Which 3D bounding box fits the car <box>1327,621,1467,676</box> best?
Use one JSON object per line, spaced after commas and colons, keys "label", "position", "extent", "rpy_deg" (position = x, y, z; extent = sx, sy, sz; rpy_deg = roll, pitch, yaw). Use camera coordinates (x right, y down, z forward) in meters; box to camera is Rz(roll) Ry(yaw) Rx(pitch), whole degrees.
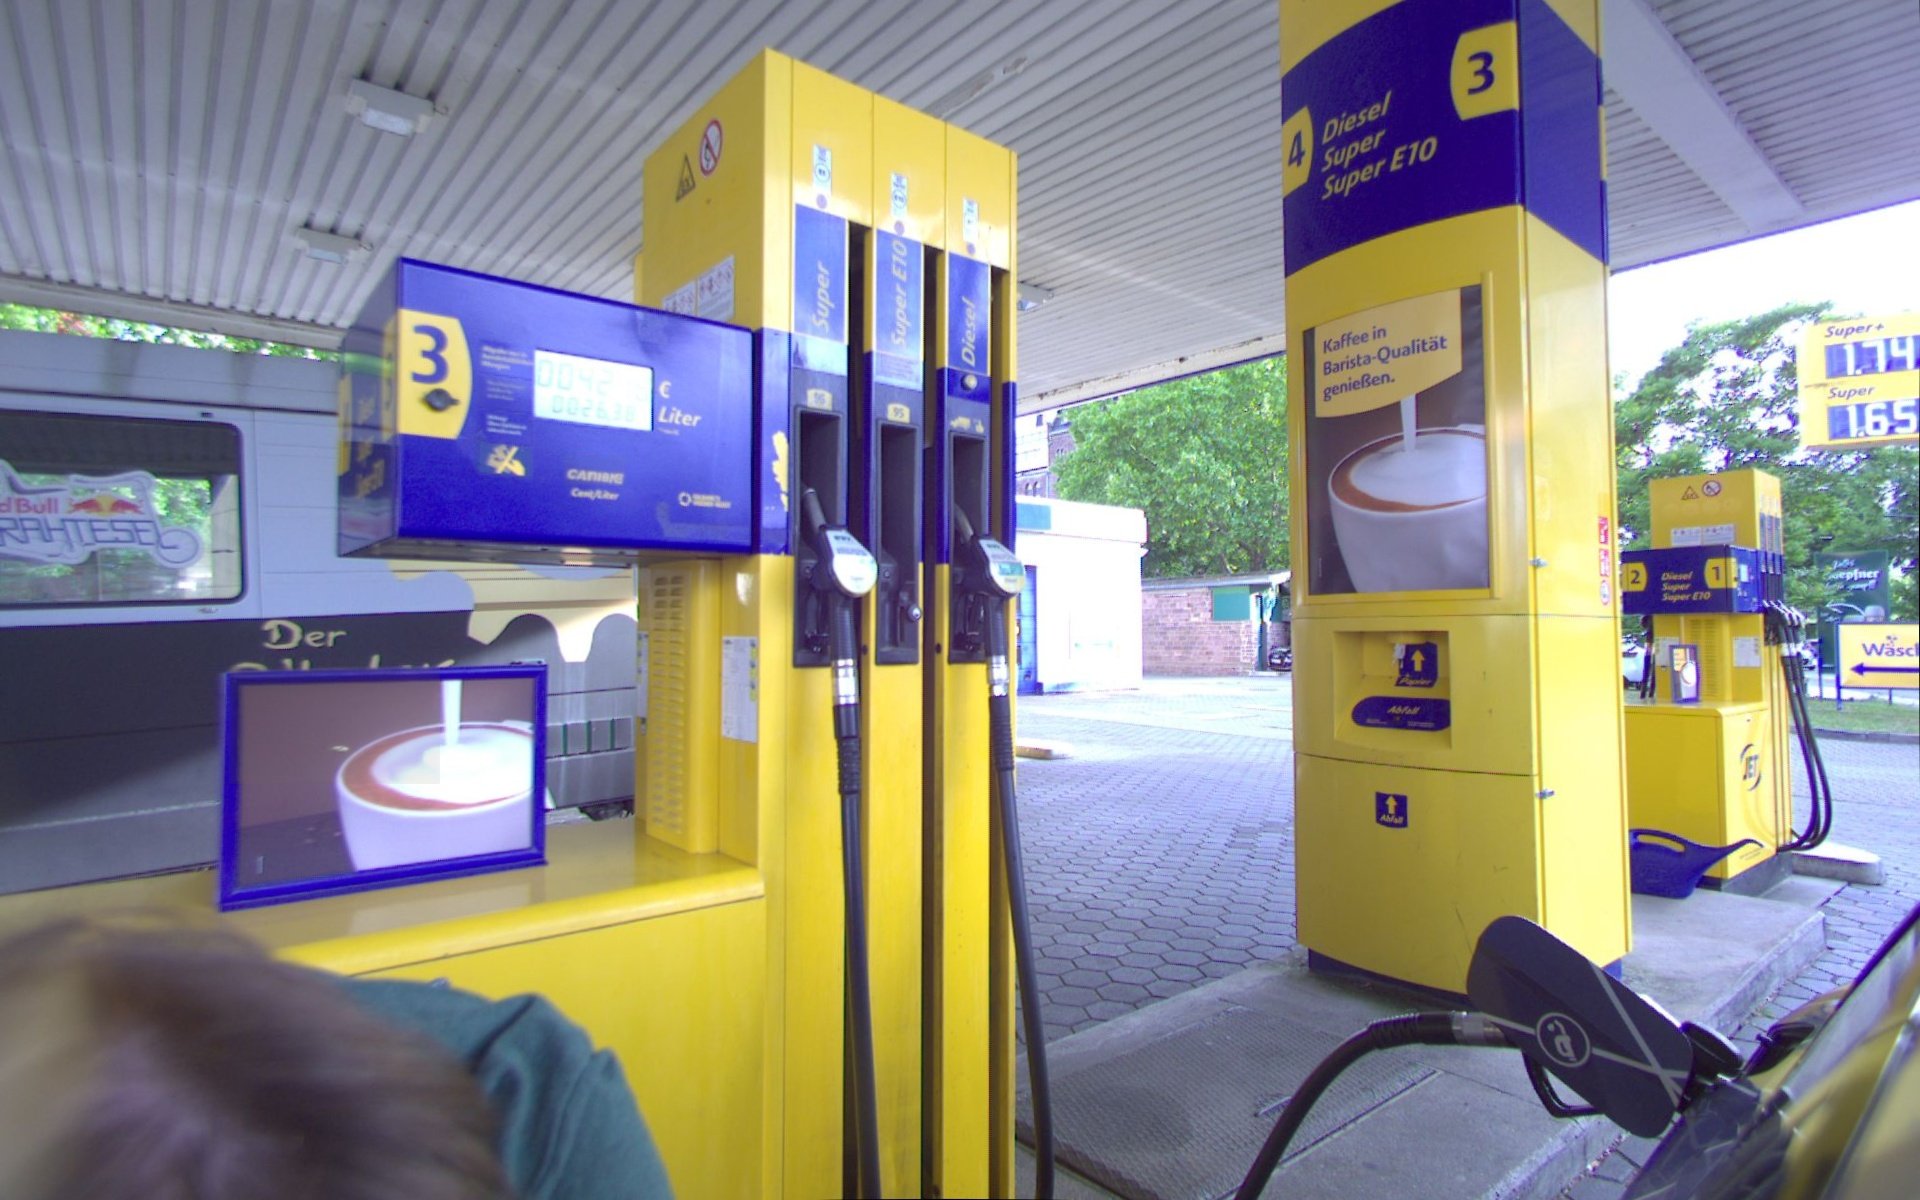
{"label": "car", "position": [13.892, 1.531, 32.149], "extent": [4.303, 1.622, 1.777], "rpy_deg": [2, -1, -28]}

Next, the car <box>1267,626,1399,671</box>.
{"label": "car", "position": [12.695, 1.654, 34.441], "extent": [4.303, 1.393, 1.777], "rpy_deg": [2, -1, -28]}

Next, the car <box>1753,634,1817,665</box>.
{"label": "car", "position": [41.182, 2.452, 50.584], "extent": [1.673, 1.452, 3.396], "rpy_deg": [-2, -3, 26]}

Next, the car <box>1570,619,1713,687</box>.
{"label": "car", "position": [18.360, 1.447, 27.214], "extent": [4.308, 1.622, 1.774], "rpy_deg": [4, -4, -35]}

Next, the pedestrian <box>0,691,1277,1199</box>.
{"label": "pedestrian", "position": [-0.334, 0.750, 0.561], "extent": [0.662, 1.298, 0.751], "rpy_deg": [0, 0, -41]}

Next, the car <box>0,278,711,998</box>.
{"label": "car", "position": [-4.108, 0.161, 4.909], "extent": [5.197, 2.726, 2.258], "rpy_deg": [1, -2, -39]}

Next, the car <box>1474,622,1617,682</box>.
{"label": "car", "position": [17.851, 1.590, 30.813], "extent": [4.303, 1.622, 1.776], "rpy_deg": [4, -4, -28]}
